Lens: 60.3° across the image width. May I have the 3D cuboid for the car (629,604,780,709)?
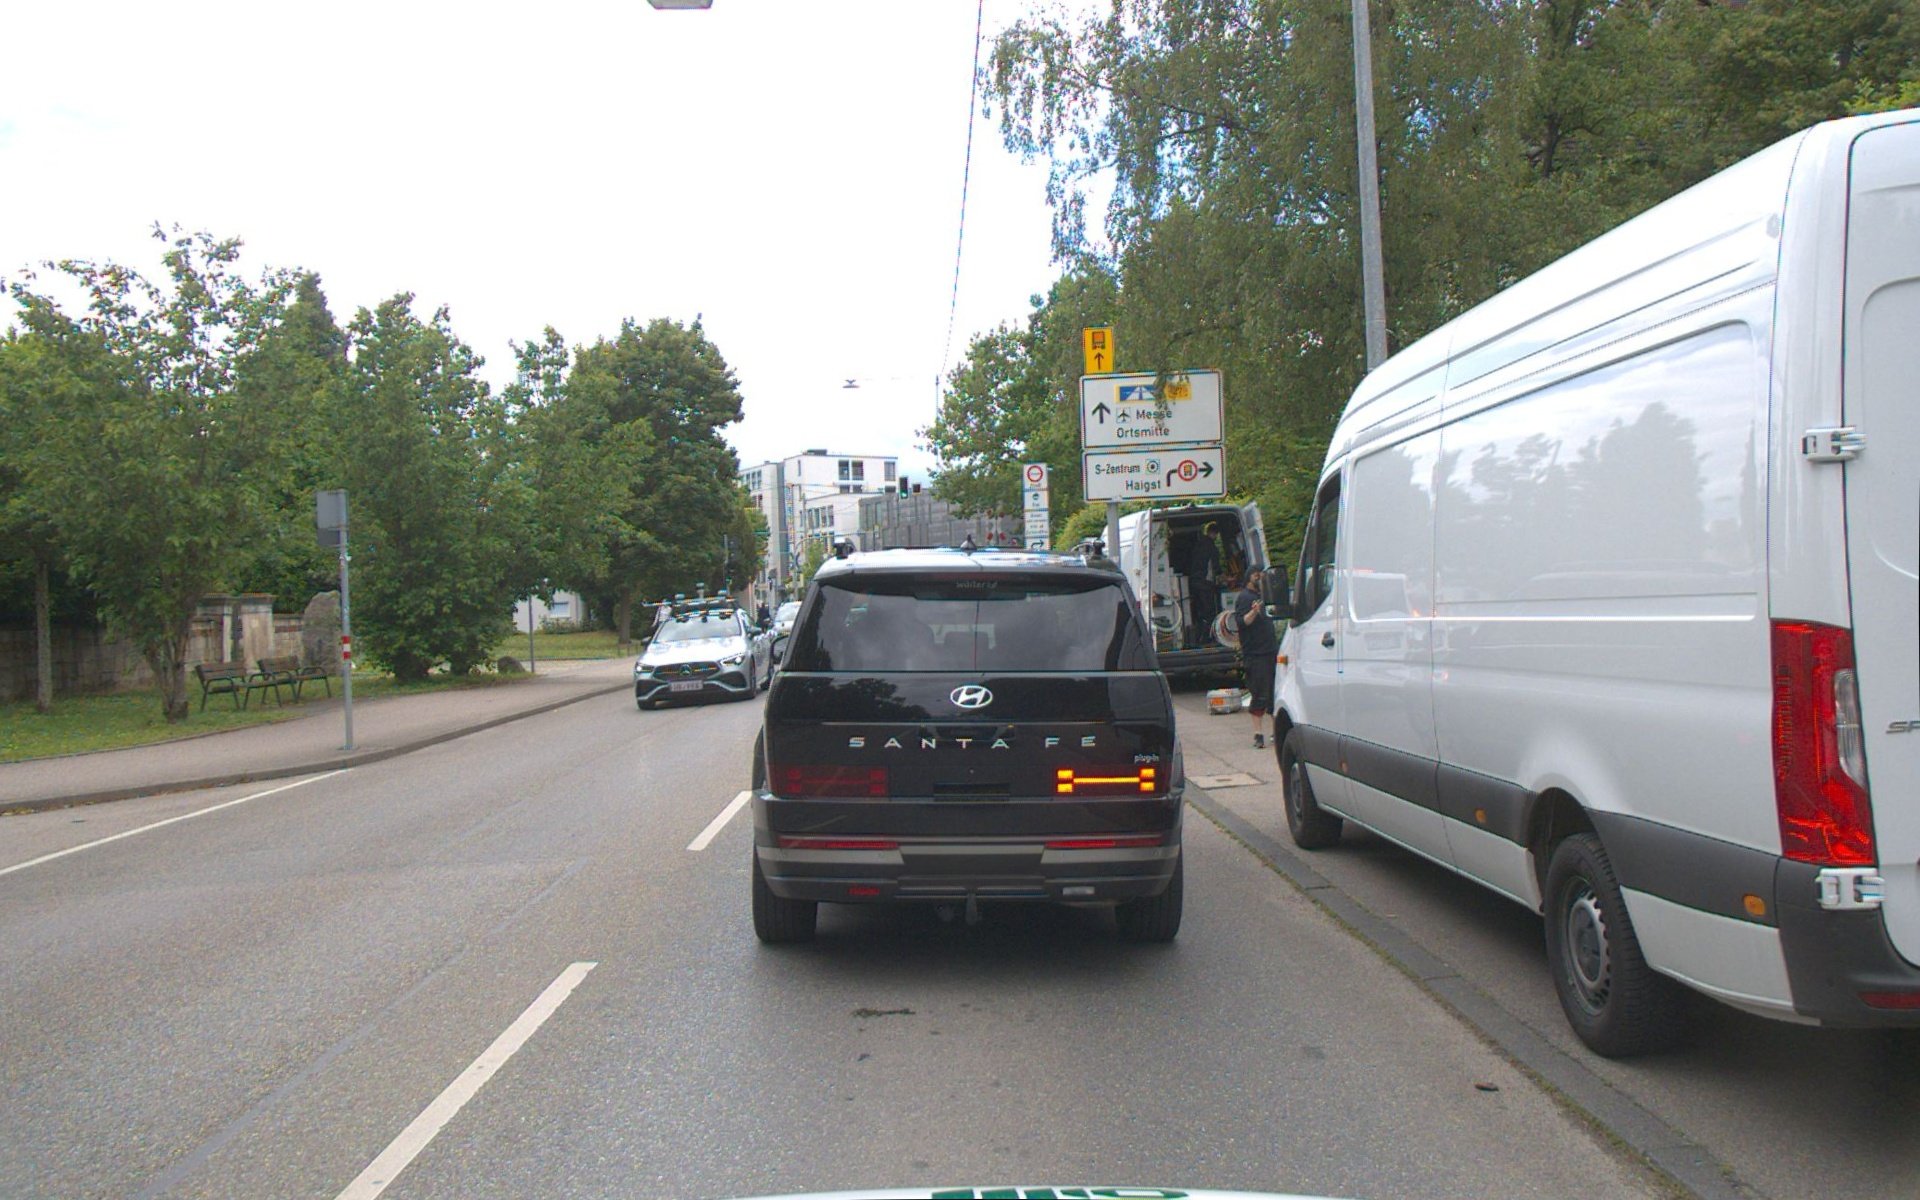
[{"bbox_3d":[-4.011,0.837,26.650,1.721,1.427,4.413,-4,0,-1],"label":"car"}]

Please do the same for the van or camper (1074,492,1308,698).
[{"bbox_3d":[3.304,-0.019,25.274,2.294,2.537,6.600,-5,-1,-2],"label":"van or camper"}]

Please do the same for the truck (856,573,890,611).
[{"bbox_3d":[-9.689,-0.837,182.971,3.048,3.926,9.607,-2,0,-7],"label":"truck"}]

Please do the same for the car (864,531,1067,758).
[{"bbox_3d":[0.028,0.421,17.403,1.858,2.077,3.993,1,0,-1],"label":"car"}]

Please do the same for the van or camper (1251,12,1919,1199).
[{"bbox_3d":[2.900,0.005,6.866,1.951,2.670,6.543,-5,0,-1],"label":"van or camper"}]

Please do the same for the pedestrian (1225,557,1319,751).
[{"bbox_3d":[2.888,0.490,15.376,0.772,1.751,0.753,1,-1,6],"label":"pedestrian"}]

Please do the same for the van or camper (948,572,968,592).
[{"bbox_3d":[-0.189,-1.870,172.461,1.760,2.033,3.820,1,0,-4],"label":"van or camper"}]

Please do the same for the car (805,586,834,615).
[{"bbox_3d":[-12.229,0.037,143.855,2.288,2.356,4.950,-2,0,-7],"label":"car"}]

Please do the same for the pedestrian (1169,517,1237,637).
[{"bbox_3d":[3.545,-0.331,24.106,0.782,1.672,0.739,-3,-1,18],"label":"pedestrian"}]

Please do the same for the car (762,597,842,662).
[{"bbox_3d":[-4.058,0.743,43.030,1.667,1.509,3.999,-4,0,-1],"label":"car"}]

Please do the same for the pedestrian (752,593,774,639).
[{"bbox_3d":[-8.883,0.719,74.698,0.812,2.049,1.047,1,-1,1],"label":"pedestrian"}]

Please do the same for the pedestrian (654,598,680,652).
[{"bbox_3d":[-9.706,0.813,54.872,0.752,1.779,0.903,0,0,-5],"label":"pedestrian"}]

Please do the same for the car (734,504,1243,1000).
[{"bbox_3d":[0.083,0.574,8.126,1.858,1.807,3.993,1,0,-1],"label":"car"}]

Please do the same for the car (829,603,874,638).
[{"bbox_3d":[-5.078,0.940,77.932,1.778,1.443,4.827,-5,0,-1],"label":"car"}]

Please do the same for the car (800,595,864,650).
[{"bbox_3d":[-4.302,0.735,56.052,1.842,1.673,4.126,-4,0,-1],"label":"car"}]
